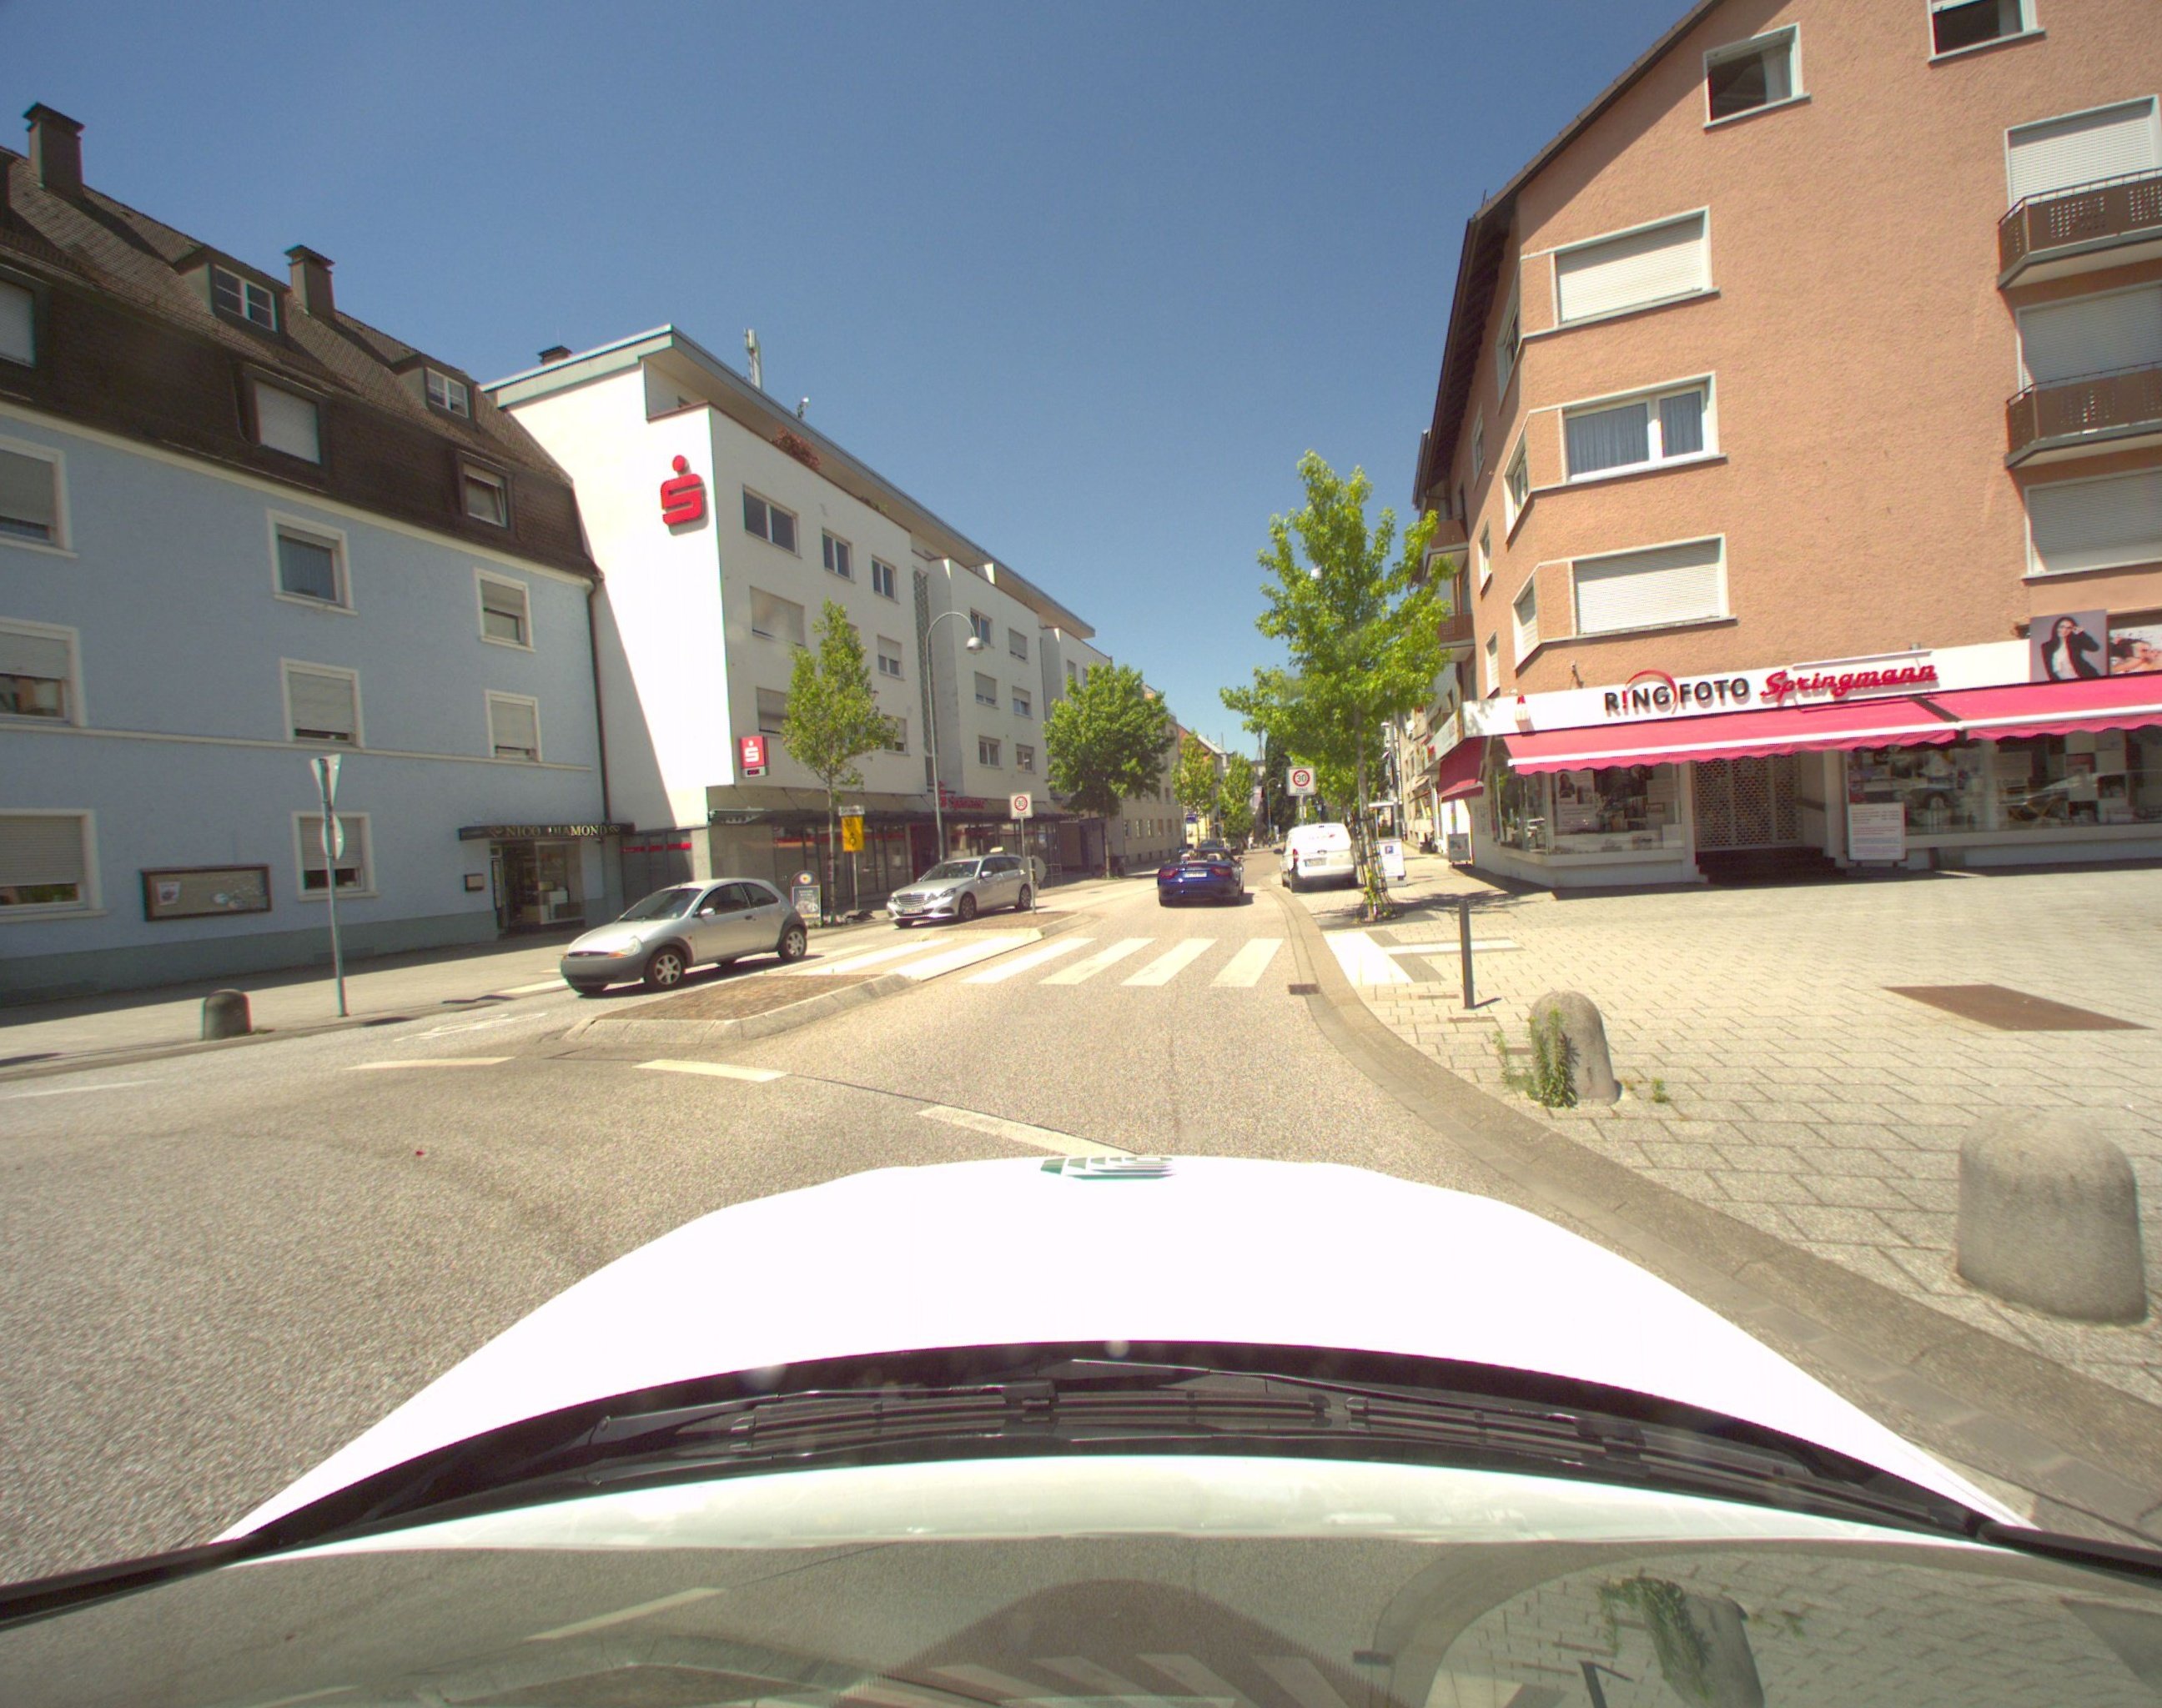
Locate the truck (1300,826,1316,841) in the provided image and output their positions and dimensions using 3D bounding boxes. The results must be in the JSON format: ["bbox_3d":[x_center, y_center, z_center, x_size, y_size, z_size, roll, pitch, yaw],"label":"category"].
[{"bbox_3d":[35.357,-3.178,126.827,1.789,2.117,4.739,-5,1,20],"label":"truck"}]

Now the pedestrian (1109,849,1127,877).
[{"bbox_3d":[1.876,0.466,41.293,0.562,1.372,0.671,-5,0,28],"label":"pedestrian"}]

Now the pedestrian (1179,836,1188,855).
[{"bbox_3d":[9.176,-0.761,72.877,0.653,1.680,0.632,-6,2,2],"label":"pedestrian"}]

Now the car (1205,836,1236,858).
[{"bbox_3d":[11.506,-0.576,67.043,1.809,1.619,4.414,-2,2,18],"label":"car"}]

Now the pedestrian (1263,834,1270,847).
[{"bbox_3d":[21.006,-1.522,92.154,0.574,1.474,0.567,-4,0,18],"label":"pedestrian"}]

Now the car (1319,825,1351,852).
[{"bbox_3d":[20.362,-1.272,65.203,1.976,1.798,4.594,-5,2,21],"label":"car"}]

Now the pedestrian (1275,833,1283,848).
[{"bbox_3d":[26.213,-1.821,108.005,0.842,1.915,0.765,-5,2,17],"label":"pedestrian"}]

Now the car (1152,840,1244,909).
[{"bbox_3d":[2.995,0.425,20.355,1.964,1.398,4.641,-3,1,10],"label":"car"}]

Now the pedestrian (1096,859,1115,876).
[{"bbox_3d":[1.278,0.692,42.445,0.658,0.858,0.737,-5,-4,28],"label":"pedestrian"}]

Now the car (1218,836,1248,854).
[{"bbox_3d":[13.633,-0.807,72.901,1.739,1.474,4.345,-2,1,22],"label":"car"}]

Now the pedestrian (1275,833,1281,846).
[{"bbox_3d":[26.076,-1.937,107.976,0.582,1.574,0.785,-4,1,19],"label":"pedestrian"}]

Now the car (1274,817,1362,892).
[{"bbox_3d":[6.377,-0.027,22.325,1.736,1.724,3.921,-6,0,9],"label":"car"}]

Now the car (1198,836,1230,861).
[{"bbox_3d":[10.194,-0.412,62.044,1.715,1.740,4.414,-1,2,18],"label":"car"}]

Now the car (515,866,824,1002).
[{"bbox_3d":[-5.812,1.064,12.062,1.685,1.458,3.810,-5,0,22],"label":"car"}]

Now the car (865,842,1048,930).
[{"bbox_3d":[-2.779,0.658,19.588,1.976,1.592,5.026,-5,1,21],"label":"car"}]

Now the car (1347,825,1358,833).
[{"bbox_3d":[54.697,-4.996,163.771,1.934,1.476,4.158,-5,0,19],"label":"car"}]

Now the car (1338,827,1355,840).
[{"bbox_3d":[35.837,-2.741,109.773,1.959,1.450,4.372,-6,1,20],"label":"car"}]

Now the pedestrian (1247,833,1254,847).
[{"bbox_3d":[18.454,-1.498,88.473,0.574,1.474,0.567,-4,0,18],"label":"pedestrian"}]
